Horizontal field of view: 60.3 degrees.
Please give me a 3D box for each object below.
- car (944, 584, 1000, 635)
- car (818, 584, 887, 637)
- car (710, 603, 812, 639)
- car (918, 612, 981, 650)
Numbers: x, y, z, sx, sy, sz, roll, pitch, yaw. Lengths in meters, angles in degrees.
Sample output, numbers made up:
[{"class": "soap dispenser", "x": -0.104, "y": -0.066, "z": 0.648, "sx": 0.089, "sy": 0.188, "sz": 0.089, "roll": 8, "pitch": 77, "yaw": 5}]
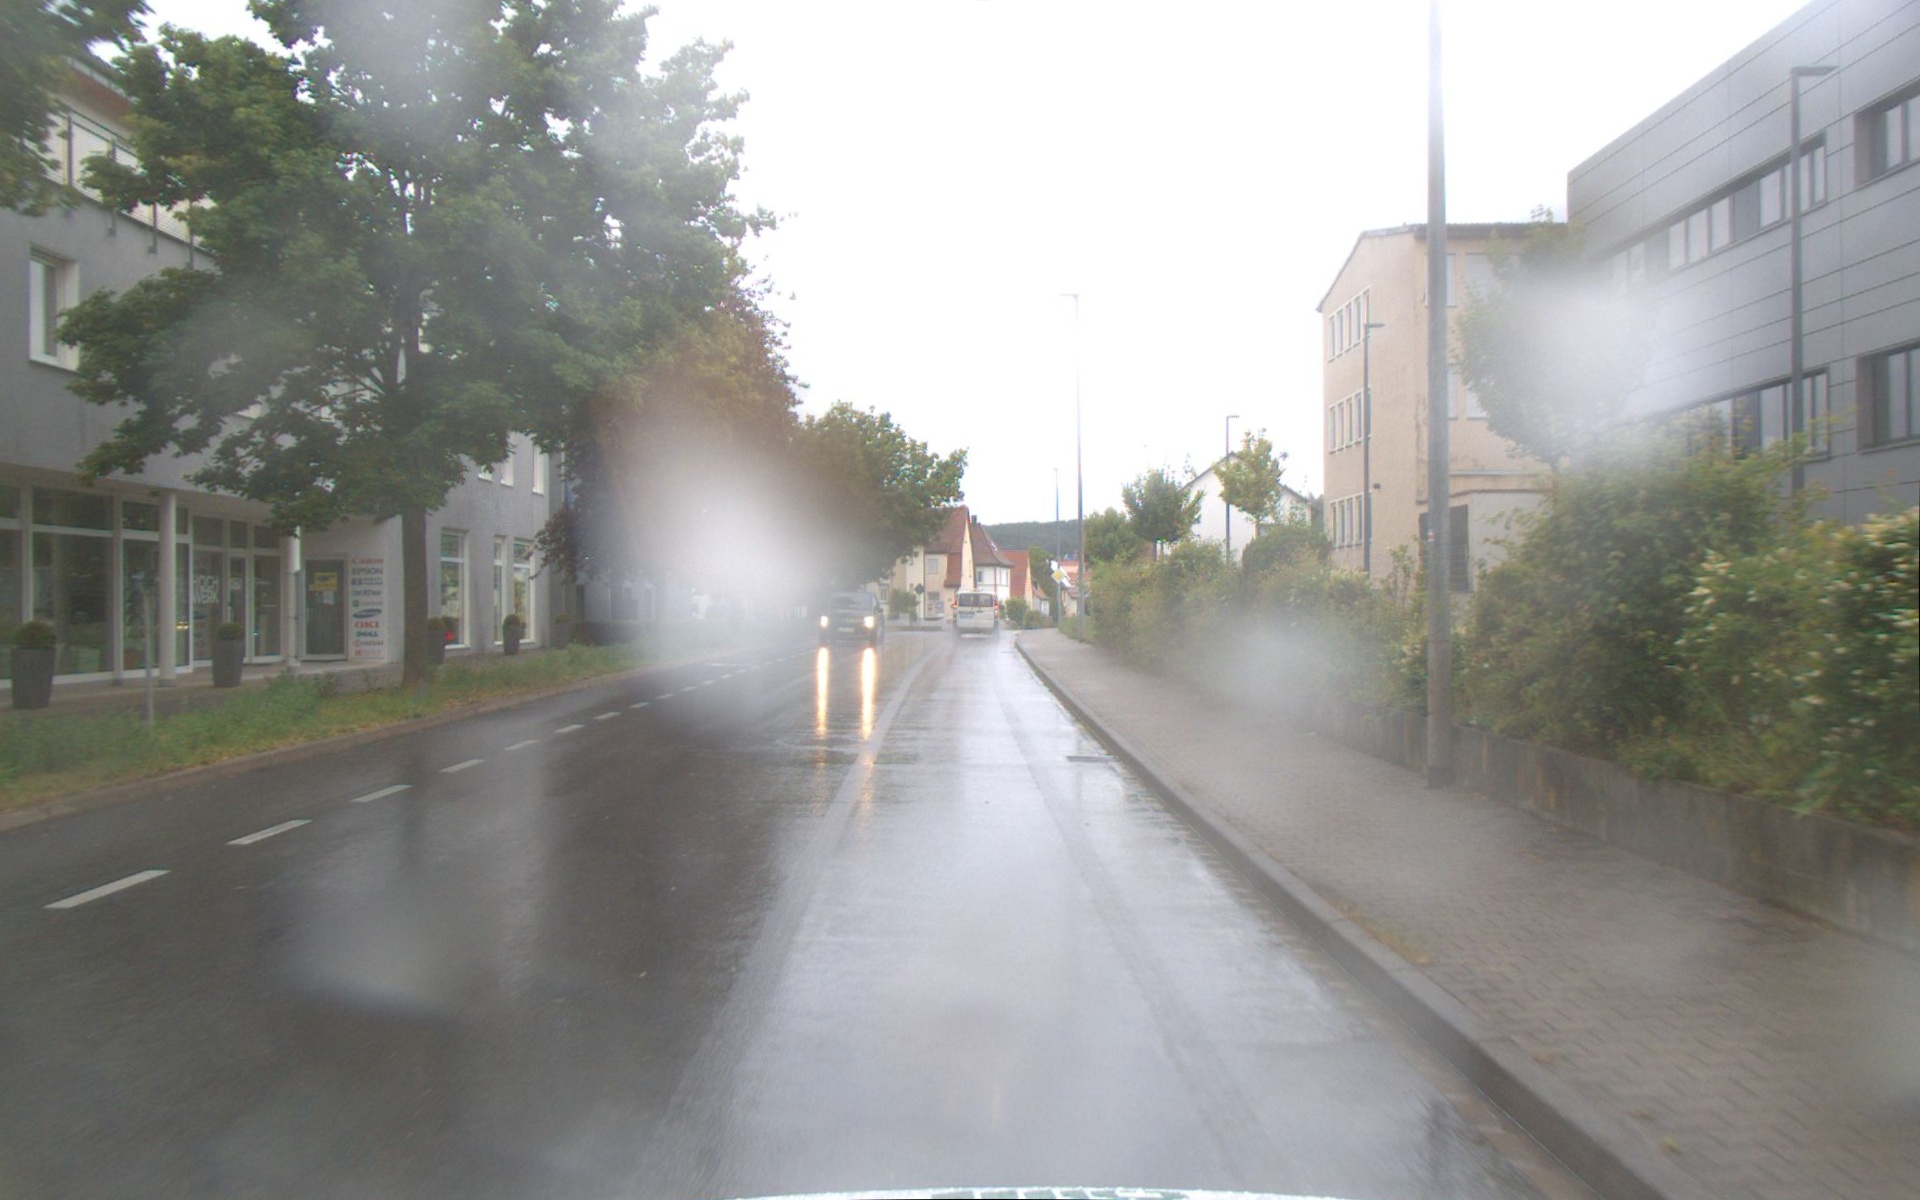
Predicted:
[{"class": "car", "x": 0.425, "y": 0.358, "z": 66.169, "sx": 2.074, "sy": 1.921, "sz": 4.501, "roll": 0, "pitch": 1, "yaw": -2}, {"class": "car", "x": -3.379, "y": 0.294, "z": 52.605, "sx": 1.812, "sy": 1.582, "sz": 4.502, "roll": 0, "pitch": 1, "yaw": 1}, {"class": "car", "x": -7.996, "y": 0.847, "z": 66.608, "sx": 3.819, "sy": 1.306, "sz": 1.582, "roll": -2, "pitch": -1, "yaw": 1}, {"class": "car", "x": -0.805, "y": 2.457, "z": 132.981, "sx": 4.466, "sy": 2.044, "sz": 2.162, "roll": -13, "pitch": -1, "yaw": 8}]
